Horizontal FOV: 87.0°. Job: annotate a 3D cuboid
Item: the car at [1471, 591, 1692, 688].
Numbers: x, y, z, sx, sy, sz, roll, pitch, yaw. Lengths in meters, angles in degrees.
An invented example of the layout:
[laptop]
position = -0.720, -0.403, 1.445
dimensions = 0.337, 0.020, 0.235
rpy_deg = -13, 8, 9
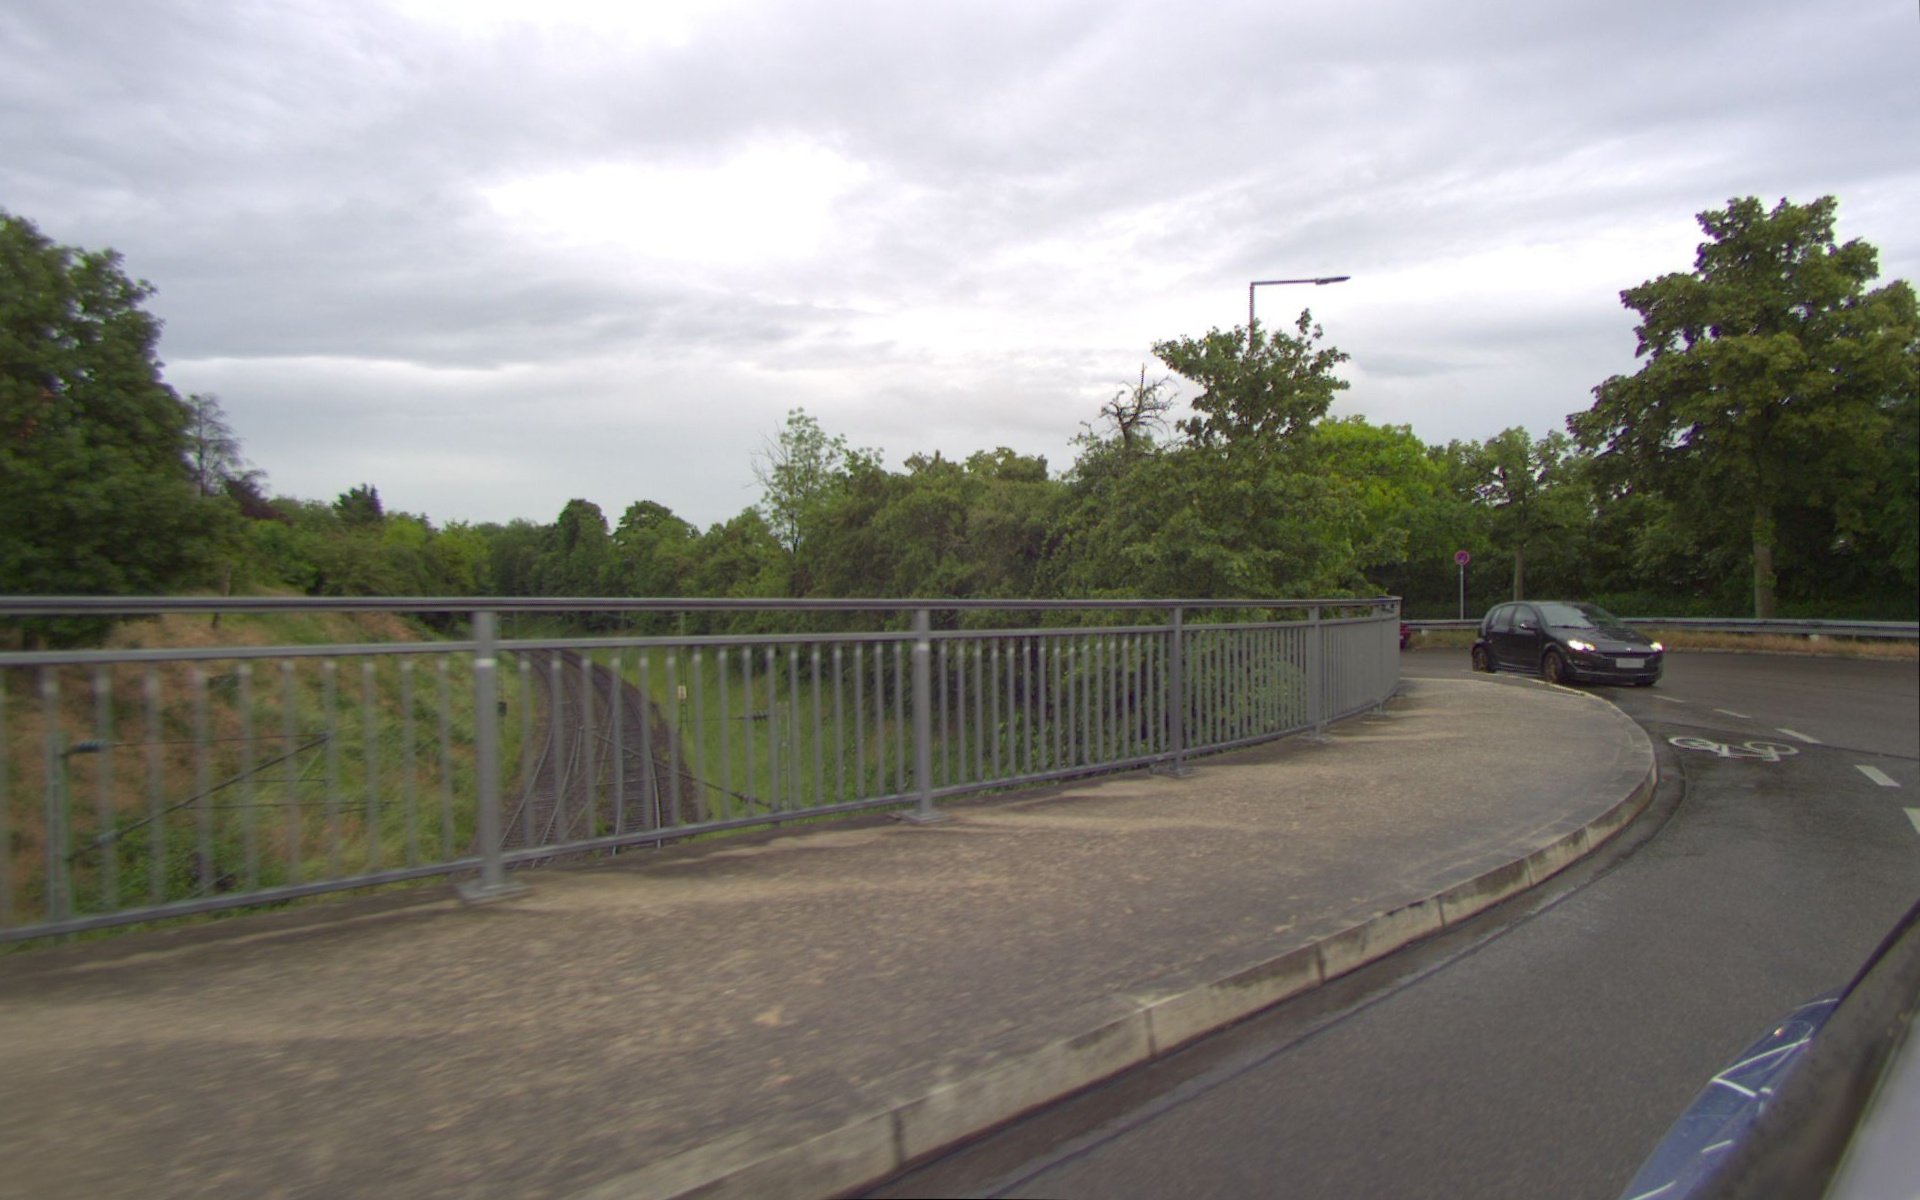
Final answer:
[car]
position = 10.782, 0.618, 17.890
dimensions = 1.651, 1.430, 3.635
rpy_deg = -4, 0, 2
